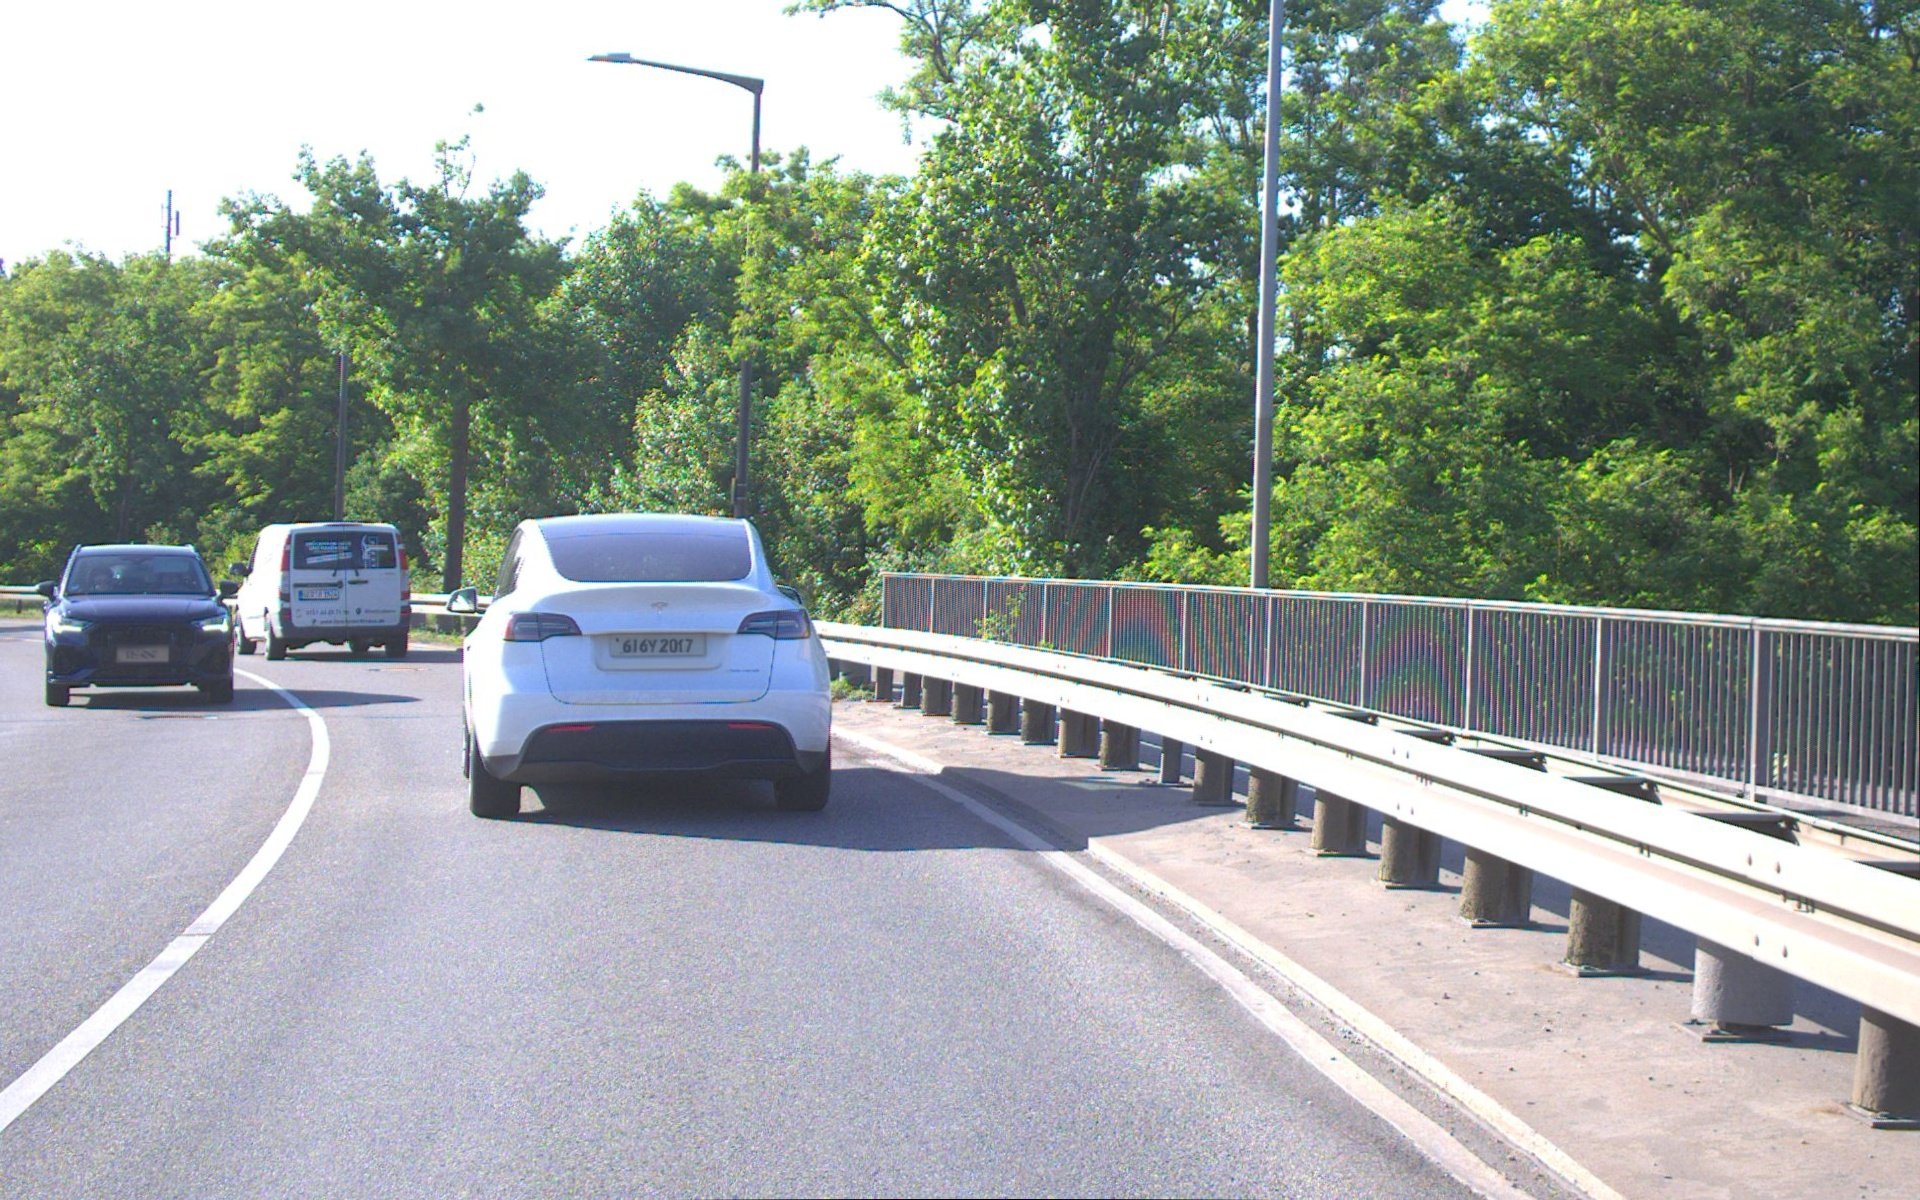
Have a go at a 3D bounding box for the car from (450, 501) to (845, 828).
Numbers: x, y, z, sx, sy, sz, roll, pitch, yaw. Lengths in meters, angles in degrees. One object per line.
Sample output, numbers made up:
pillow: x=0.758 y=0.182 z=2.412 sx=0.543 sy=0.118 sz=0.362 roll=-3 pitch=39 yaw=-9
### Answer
car: x=-1.866 y=0.288 z=19.443 sx=1.985 sy=1.632 sz=4.064 roll=-1 pitch=1 yaw=-8

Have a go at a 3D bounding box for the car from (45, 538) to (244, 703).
car: x=-8.374 y=0.155 z=35.091 sx=1.823 sy=1.546 sz=4.186 roll=-1 pitch=1 yaw=-15

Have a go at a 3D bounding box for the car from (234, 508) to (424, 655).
car: x=-8.888 y=-0.296 z=48.176 sx=2.004 sy=1.934 sz=4.469 roll=-1 pitch=1 yaw=-18
